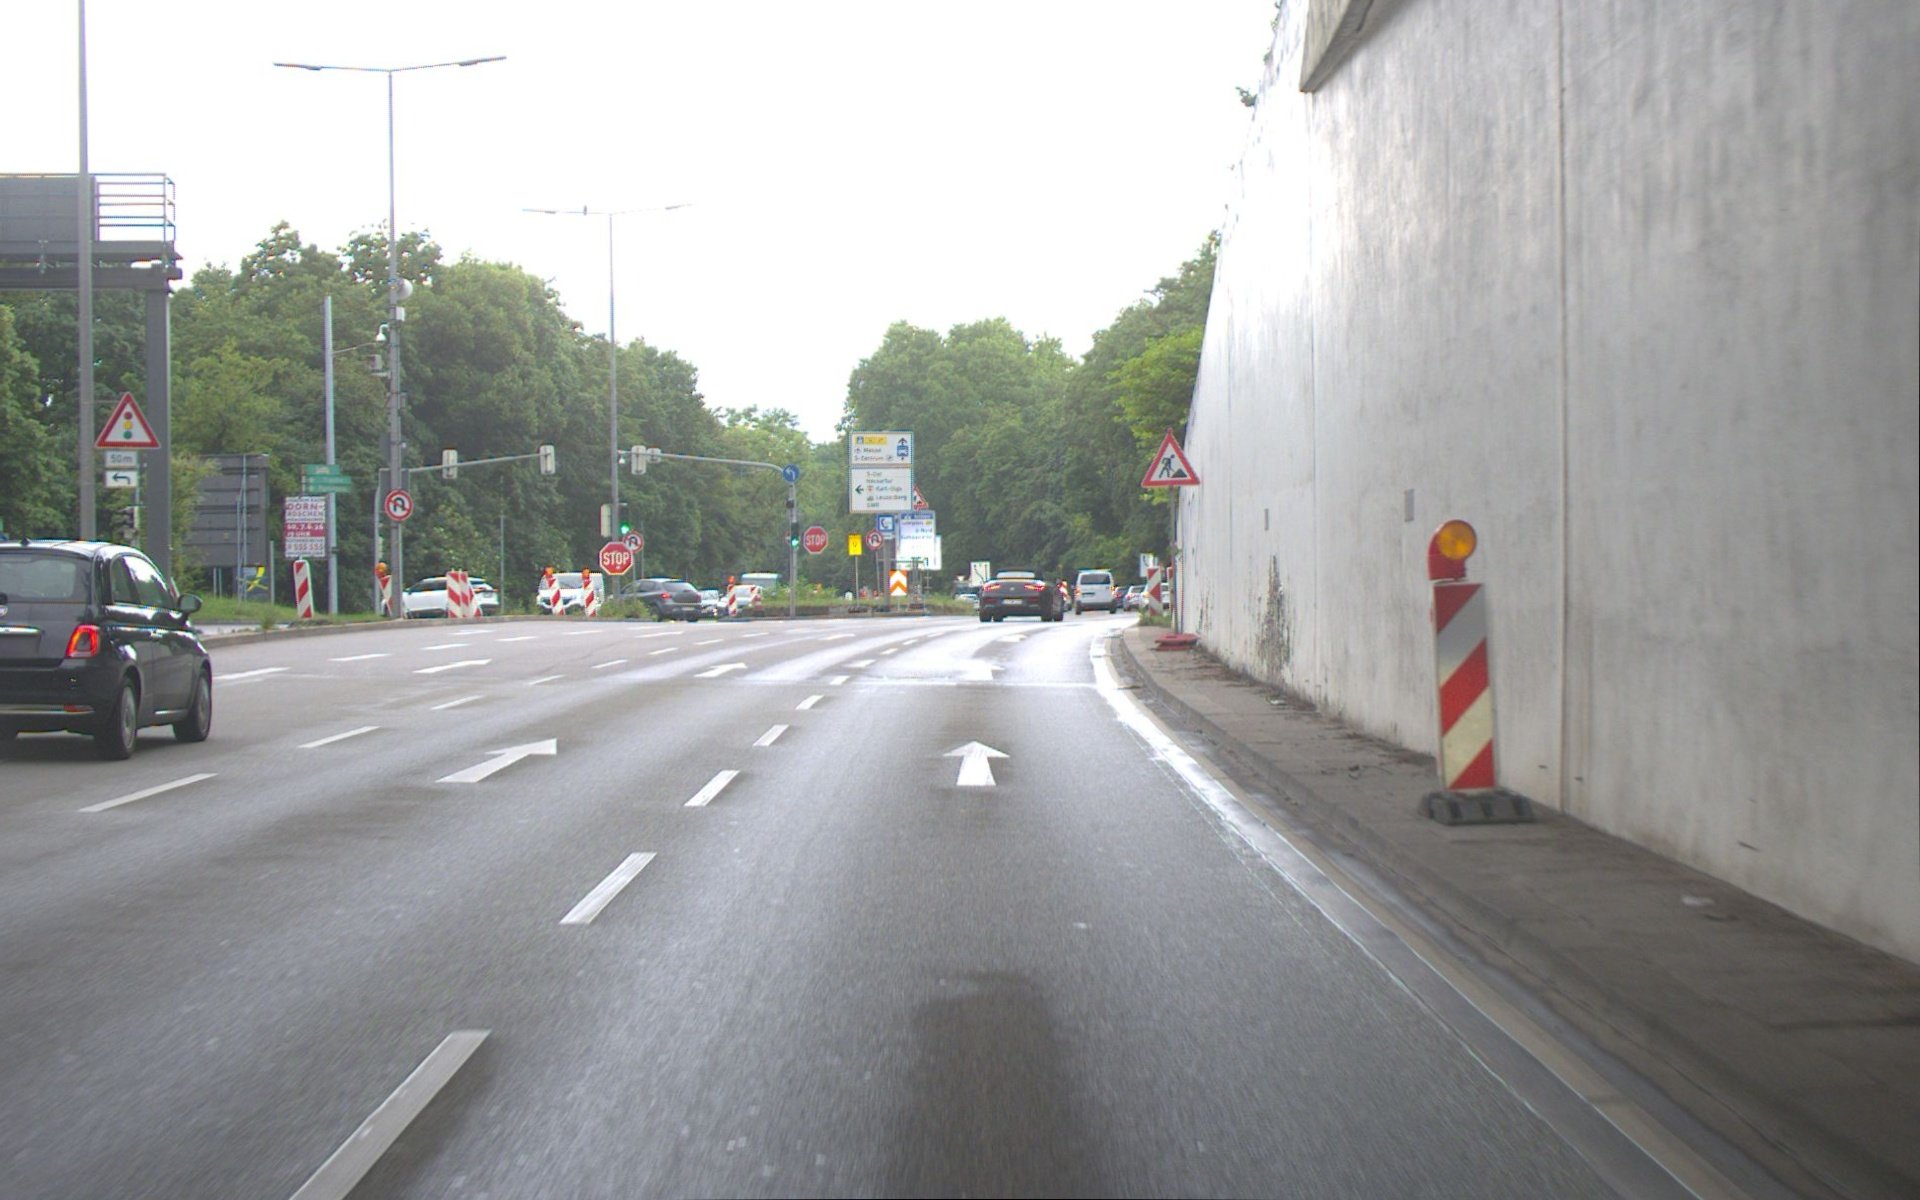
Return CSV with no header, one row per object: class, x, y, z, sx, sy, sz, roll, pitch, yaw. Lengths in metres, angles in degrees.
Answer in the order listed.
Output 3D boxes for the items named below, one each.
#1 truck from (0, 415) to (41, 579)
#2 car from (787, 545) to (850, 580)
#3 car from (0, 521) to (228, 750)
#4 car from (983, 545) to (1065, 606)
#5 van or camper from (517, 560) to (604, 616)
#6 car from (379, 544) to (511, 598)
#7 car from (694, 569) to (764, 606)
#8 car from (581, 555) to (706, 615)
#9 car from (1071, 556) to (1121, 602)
truck,-20.520,-2.094,67.395,2.797,3.265,7.147,3,1,2
car,-5.984,-1.586,145.724,2.010,1.297,4.314,2,0,6
car,-6.337,0.191,24.150,1.612,1.449,3.573,1,1,0
car,1.624,-0.608,88.882,1.993,1.443,4.314,2,0,0
van or camper,-15.567,-0.446,134.243,2.129,2.007,5.313,2,0,6
car,-17.475,-0.979,116.638,3.993,1.678,1.895,3,1,26
car,-9.192,-0.487,136.909,2.010,1.297,4.314,2,0,6
car,-10.202,-0.479,110.650,1.892,1.678,3.999,3,1,-42
car,6.326,-0.959,160.129,1.993,2.007,4.000,3,0,-1
